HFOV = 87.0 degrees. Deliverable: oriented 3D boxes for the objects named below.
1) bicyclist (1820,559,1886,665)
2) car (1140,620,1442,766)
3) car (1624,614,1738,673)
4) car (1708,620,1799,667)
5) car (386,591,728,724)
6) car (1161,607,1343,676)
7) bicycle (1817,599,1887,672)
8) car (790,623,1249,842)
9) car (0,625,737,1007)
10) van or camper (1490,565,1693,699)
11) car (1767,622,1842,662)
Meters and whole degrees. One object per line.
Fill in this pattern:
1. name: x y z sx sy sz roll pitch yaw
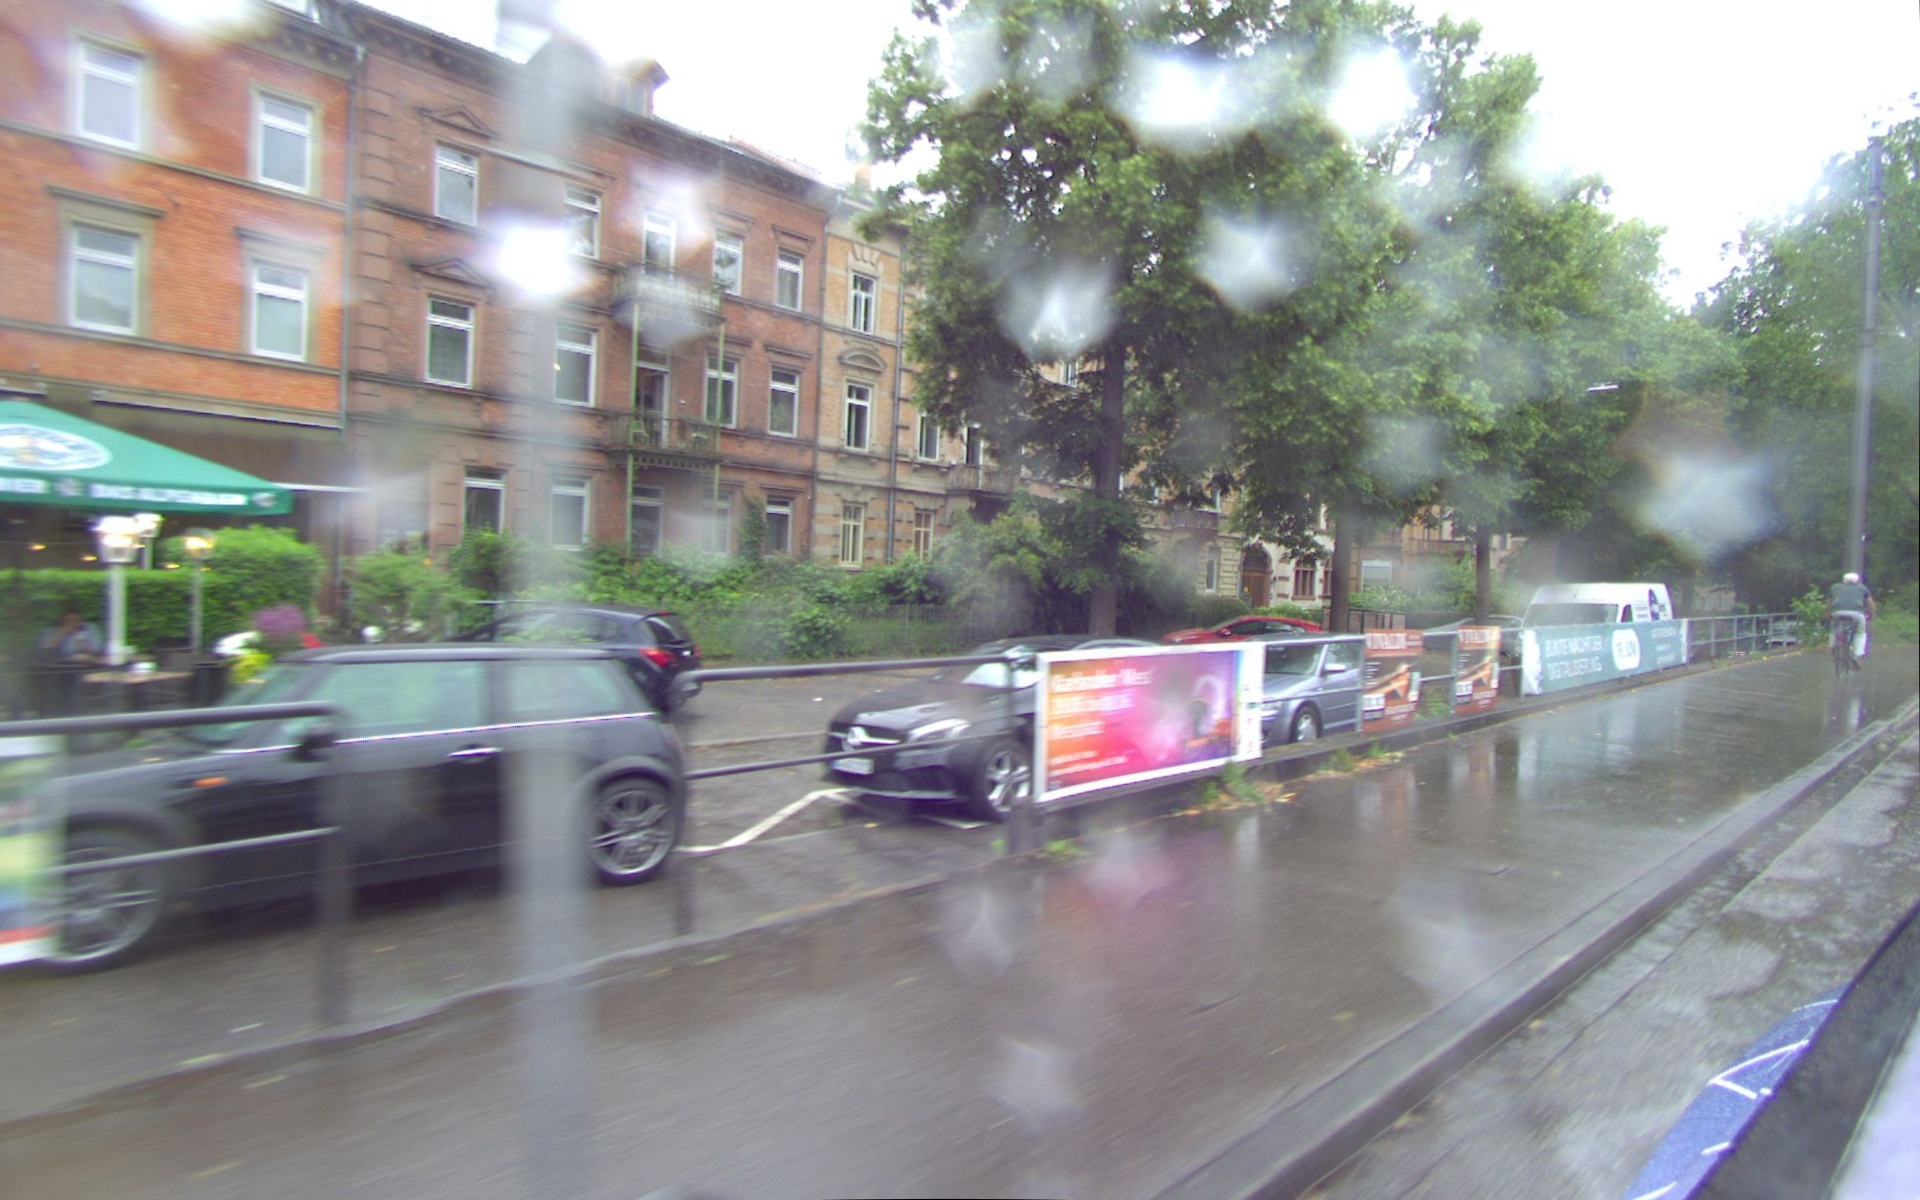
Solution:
1. bicyclist: 14.659 0.184 16.615 0.736 1.676 0.863 3 1 44
2. car: 4.275 1.031 12.743 4.142 1.488 1.730 1 0 -41
3. car: 19.616 1.112 27.482 4.143 1.365 1.629 -1 1 -41
4. car: 26.318 1.403 33.517 3.931 1.389 1.702 0 0 -42
5. car: -5.389 0.699 13.729 3.939 1.527 1.854 2 0 12
6. car: 7.327 1.007 25.592 4.229 1.488 1.700 2 0 17
7. bicycle: 14.612 0.563 16.566 0.738 1.086 1.836 3 2 44
8. car: 0.709 0.984 9.211 4.143 1.482 1.749 1 0 -42
9. car: -3.247 0.931 5.826 3.453 1.519 1.650 1 0 -40
10. van or camper: 14.352 0.647 22.813 5.992 2.623 2.330 1 0 -43
11. car: 34.891 1.709 41.800 3.930 1.473 1.807 1 1 -42
